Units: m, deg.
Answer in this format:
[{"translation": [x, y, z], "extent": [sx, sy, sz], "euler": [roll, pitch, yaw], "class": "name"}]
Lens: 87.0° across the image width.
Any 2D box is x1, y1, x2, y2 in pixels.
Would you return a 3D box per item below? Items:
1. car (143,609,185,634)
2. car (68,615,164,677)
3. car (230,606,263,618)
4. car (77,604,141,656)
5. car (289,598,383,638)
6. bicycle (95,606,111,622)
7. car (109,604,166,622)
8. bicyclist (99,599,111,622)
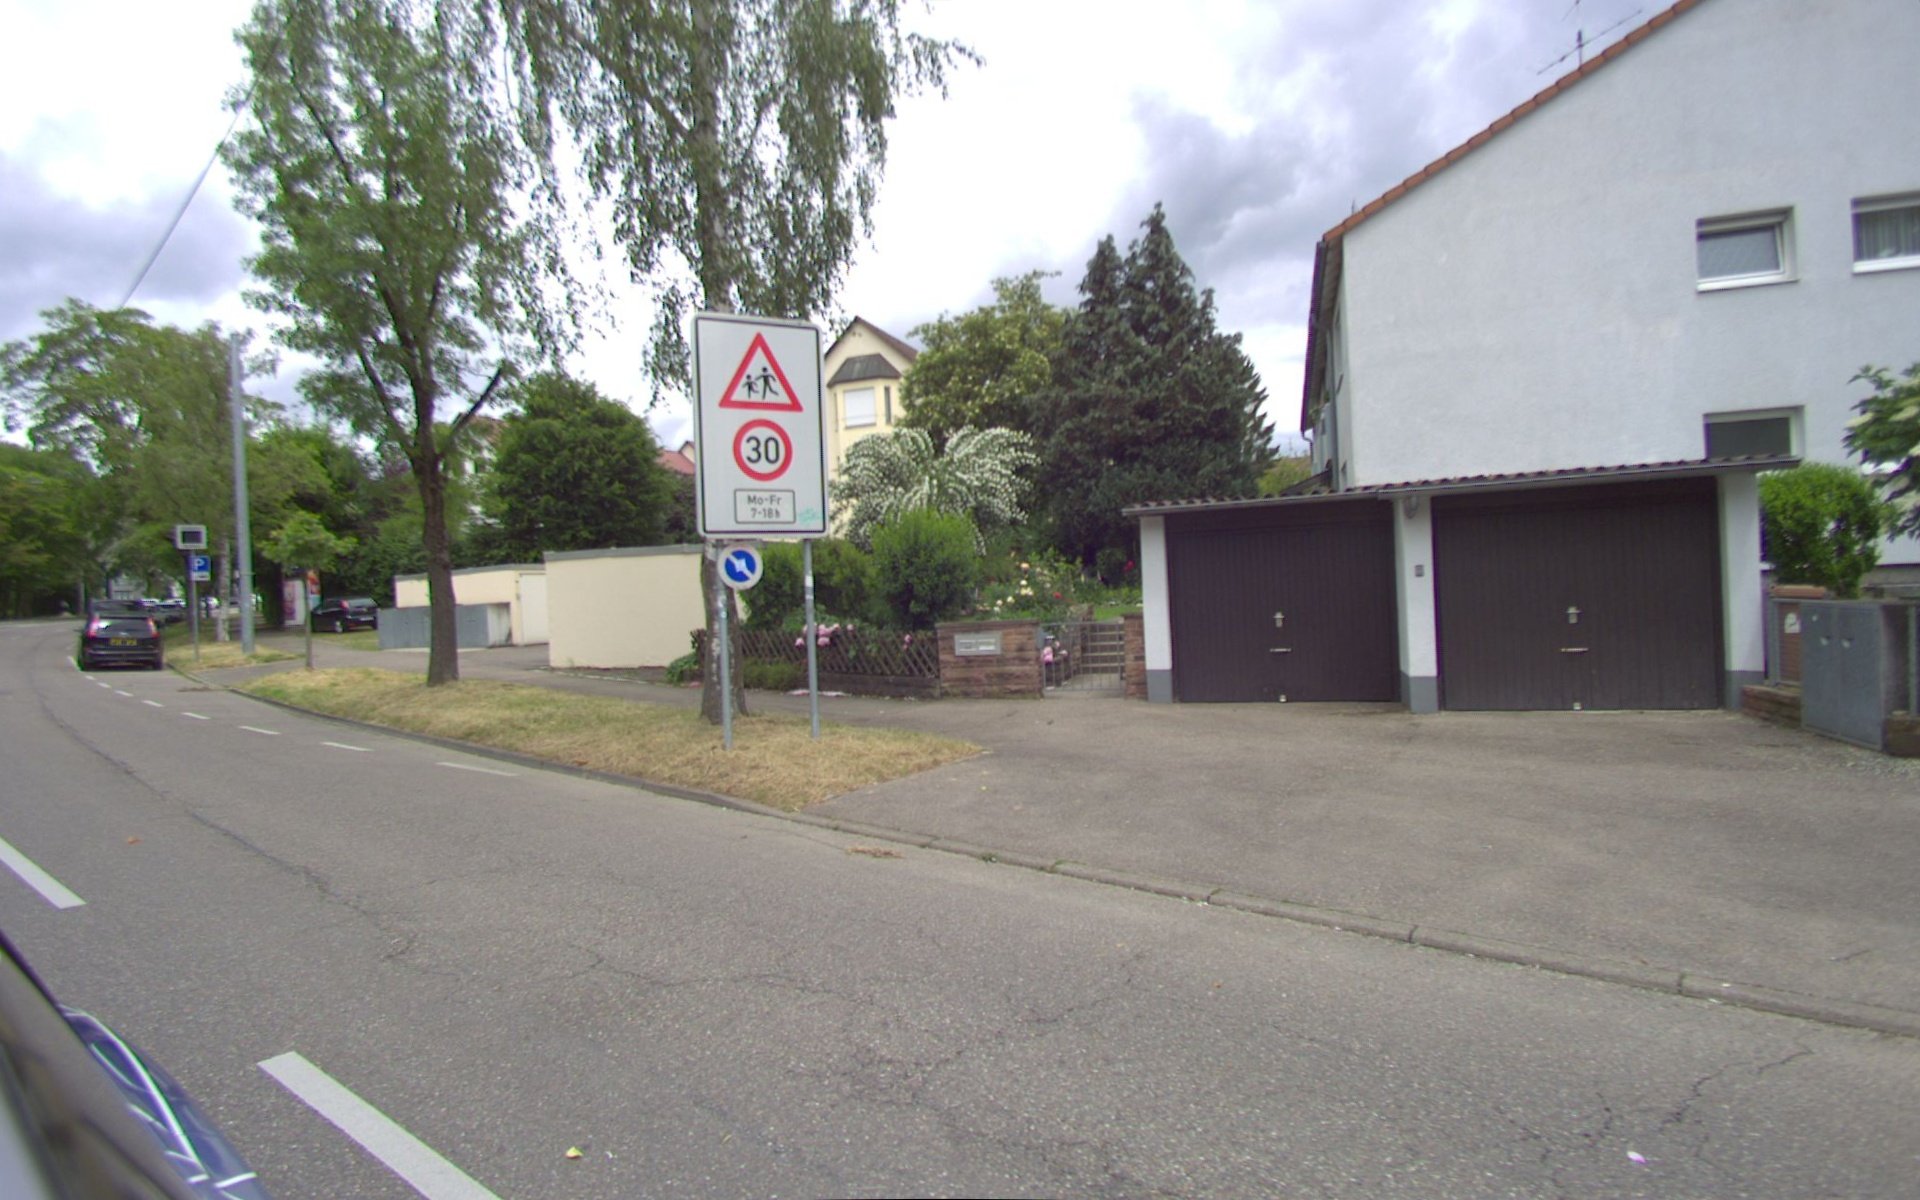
[{"translation": [-53.463, 1.417, 68.019], "extent": [1.711, 1.549, 4.202], "euler": [0, 0, -31], "class": "car"}, {"translation": [-23.473, 1.224, 28.092], "extent": [1.783, 1.575, 4.271], "euler": [2, -2, -43], "class": "car"}, {"translation": [-104.812, 1.741, 148.661], "extent": [3.795, 1.449, 1.720], "euler": [-4, 2, -36], "class": "car"}, {"translation": [-34.161, 1.153, 40.722], "extent": [1.834, 1.923, 5.092], "euler": [-1, 1, -39], "class": "car"}, {"translation": [-26.460, 0.771, 42.908], "extent": [3.978, 1.488, 1.760], "euler": [-1, 4, 32], "class": "car"}, {"translation": [-68.177, 1.113, 80.525], "extent": [0.637, 1.246, 1.883], "euler": [-2, 1, -32], "class": "bicycle"}, {"translation": [-85.450, 1.346, 105.221], "extent": [4.409, 1.597, 1.912], "euler": [-4, 2, -34], "class": "car"}, {"translation": [-68.490, 0.835, 81.049], "extent": [0.637, 1.792, 0.630], "euler": [-2, 1, -33], "class": "bicyclist"}]
